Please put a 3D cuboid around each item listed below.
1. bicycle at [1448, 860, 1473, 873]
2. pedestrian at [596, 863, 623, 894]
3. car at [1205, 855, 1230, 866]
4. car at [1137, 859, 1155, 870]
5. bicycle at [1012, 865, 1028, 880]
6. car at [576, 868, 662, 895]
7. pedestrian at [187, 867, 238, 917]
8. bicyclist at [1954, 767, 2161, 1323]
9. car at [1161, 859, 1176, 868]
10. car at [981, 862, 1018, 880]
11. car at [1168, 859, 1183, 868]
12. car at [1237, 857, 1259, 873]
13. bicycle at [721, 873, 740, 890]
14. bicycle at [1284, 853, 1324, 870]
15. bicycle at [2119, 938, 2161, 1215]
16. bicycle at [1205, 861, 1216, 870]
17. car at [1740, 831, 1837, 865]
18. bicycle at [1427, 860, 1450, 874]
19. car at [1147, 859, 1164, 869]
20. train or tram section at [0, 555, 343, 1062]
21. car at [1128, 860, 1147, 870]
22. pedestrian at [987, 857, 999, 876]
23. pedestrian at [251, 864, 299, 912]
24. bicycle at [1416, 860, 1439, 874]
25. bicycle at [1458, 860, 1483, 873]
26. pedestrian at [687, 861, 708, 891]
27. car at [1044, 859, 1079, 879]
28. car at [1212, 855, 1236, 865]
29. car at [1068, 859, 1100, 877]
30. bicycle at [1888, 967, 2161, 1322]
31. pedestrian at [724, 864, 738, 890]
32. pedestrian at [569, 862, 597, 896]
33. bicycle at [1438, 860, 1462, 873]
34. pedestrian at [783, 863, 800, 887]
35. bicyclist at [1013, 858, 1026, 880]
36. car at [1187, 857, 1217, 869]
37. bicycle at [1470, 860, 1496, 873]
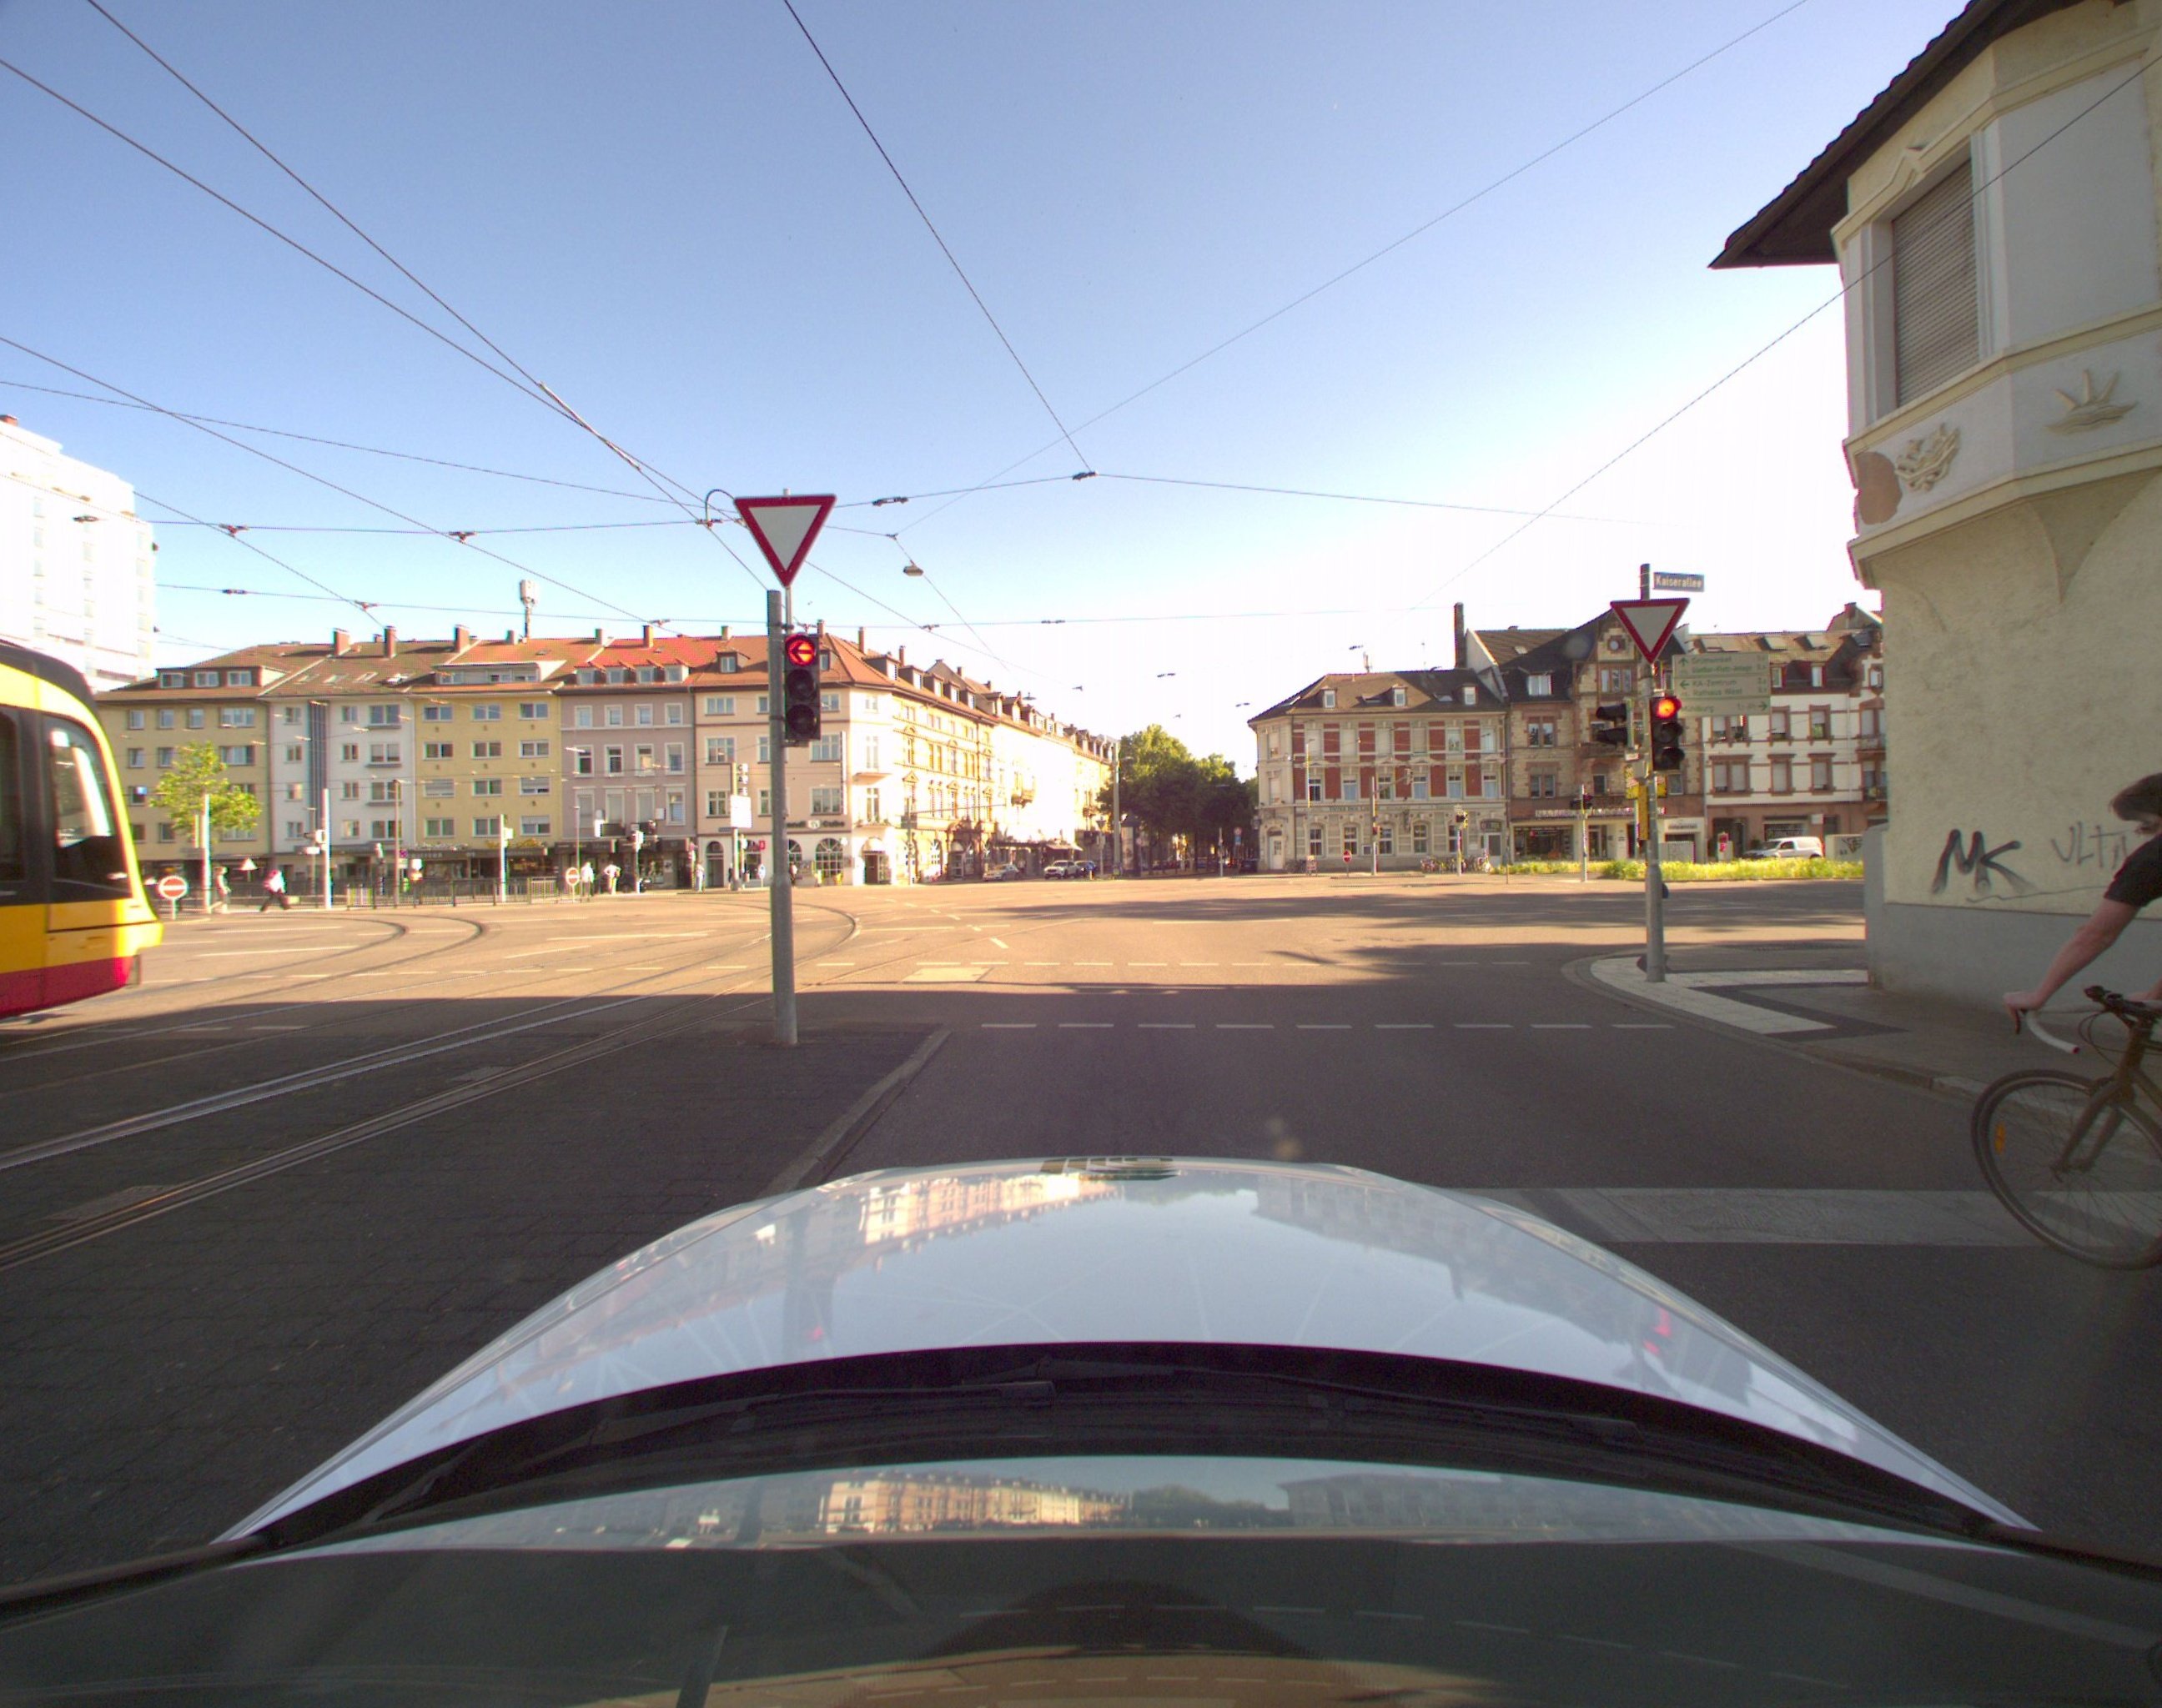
[{"bbox_3d":[24.568,0.816,52.749,0.656,0.840,2.162,0,-1,3],"label":"bicycle"},{"bbox_3d":[-24.552,1.280,42.428,0.842,1.577,0.836,-1,-1,11],"label":"pedestrian"},{"bbox_3d":[21.446,1.060,127.722,3.549,1.648,1.691,-1,0,19],"label":"car"},{"bbox_3d":[9.170,1.490,115.448,1.664,1.354,3.608,-2,0,19],"label":"car"},{"bbox_3d":[-4.895,1.482,65.534,0.696,1.118,1.642,-1,-1,16],"label":"bicycle"},{"bbox_3d":[-30.365,1.782,53.636,4.347,1.711,2.308,0,-1,4],"label":"car"},{"bbox_3d":[-30.673,1.336,28.765,0.916,1.677,1.065,-1,1,34],"label":"pedestrian"},{"bbox_3d":[3.578,0.581,2.501,0.570,1.701,1.117,-1,0,2],"label":"bicyclist"},{"bbox_3d":[14.030,1.501,130.610,1.664,1.354,3.608,-2,0,19],"label":"car"},{"bbox_3d":[-6.710,1.422,67.226,1.664,1.354,3.608,-2,0,19],"label":"car"},{"bbox_3d":[15.717,1.520,135.603,1.664,1.354,3.608,-2,0,19],"label":"car"},{"bbox_3d":[16.903,1.100,82.335,1.664,1.483,3.967,-2,0,19],"label":"car"},{"bbox_3d":[-22.770,1.775,52.936,0.570,1.077,1.497,0,-1,2],"label":"bicycle"},{"bbox_3d":[15.604,0.504,57.060,2.547,1.174,0.818,0,-1,-1],"label":"bicycle"},{"bbox_3d":[4.497,0.924,2.469,0.515,1.090,1.799,-1,2,5],"label":"bicycle"},{"bbox_3d":[15.768,1.392,99.281,0.636,1.021,1.839,0,-1,-12],"label":"bicycle"},{"bbox_3d":[45.443,-0.370,52.404,4.406,2.013,2.002,-1,0,4],"label":"car"},{"bbox_3d":[23.161,0.826,52.757,0.656,0.840,2.162,0,-1,3],"label":"bicycle"},{"bbox_3d":[11.240,1.539,122.364,1.664,1.354,3.608,-2,0,19],"label":"car"},{"bbox_3d":[-9.211,-0.333,3.176,2.930,3.814,12.089,-1,0,-7],"label":"train or tram section"},{"bbox_3d":[7.696,1.487,111.324,1.664,1.354,3.608,-2,0,19],"label":"car"},{"bbox_3d":[-7.956,1.144,73.480,0.770,1.670,0.834,-1,-1,17],"label":"pedestrian"},{"bbox_3d":[-29.490,1.225,29.796,0.916,1.677,1.065,-1,1,34],"label":"pedestrian"},{"bbox_3d":[22.426,0.831,52.698,0.656,0.840,2.162,0,-1,3],"label":"bicycle"},{"bbox_3d":[25.205,0.811,52.704,0.656,0.840,2.162,0,-1,3],"label":"bicycle"},{"bbox_3d":[-19.925,1.138,42.354,0.545,1.577,0.838,-1,-1,29],"label":"pedestrian"},{"bbox_3d":[-1.605,1.213,67.510,1.664,1.483,3.789,-2,0,19],"label":"car"},{"bbox_3d":[23.352,0.966,133.155,3.549,1.648,1.691,-1,0,19],"label":"car"},{"bbox_3d":[0.306,1.240,73.770,1.664,1.483,3.967,-2,0,19],"label":"car"},{"bbox_3d":[3.602,0.962,2.509,0.516,0.970,1.750,-1,0,2],"label":"bicycle"},{"bbox_3d":[-22.773,1.479,52.962,0.580,1.670,0.753,0,-1,2],"label":"pedestrian"},{"bbox_3d":[-23.445,1.181,38.338,0.657,1.577,0.889,-1,-1,29],"label":"pedestrian"},{"bbox_3d":[23.885,0.821,52.742,0.656,0.840,2.162,0,-1,3],"label":"bicycle"},{"bbox_3d":[-18.887,1.366,53.098,0.838,1.577,0.718,0,-1,-45],"label":"pedestrian"},{"bbox_3d":[-4.941,1.207,65.415,0.772,1.803,1.060,-1,-1,16],"label":"bicyclist"},{"bbox_3d":[17.202,1.257,115.456,3.870,1.648,1.691,-1,0,19],"label":"car"},{"bbox_3d":[26.009,0.805,52.718,0.656,0.840,2.162,0,-1,3],"label":"bicycle"}]
